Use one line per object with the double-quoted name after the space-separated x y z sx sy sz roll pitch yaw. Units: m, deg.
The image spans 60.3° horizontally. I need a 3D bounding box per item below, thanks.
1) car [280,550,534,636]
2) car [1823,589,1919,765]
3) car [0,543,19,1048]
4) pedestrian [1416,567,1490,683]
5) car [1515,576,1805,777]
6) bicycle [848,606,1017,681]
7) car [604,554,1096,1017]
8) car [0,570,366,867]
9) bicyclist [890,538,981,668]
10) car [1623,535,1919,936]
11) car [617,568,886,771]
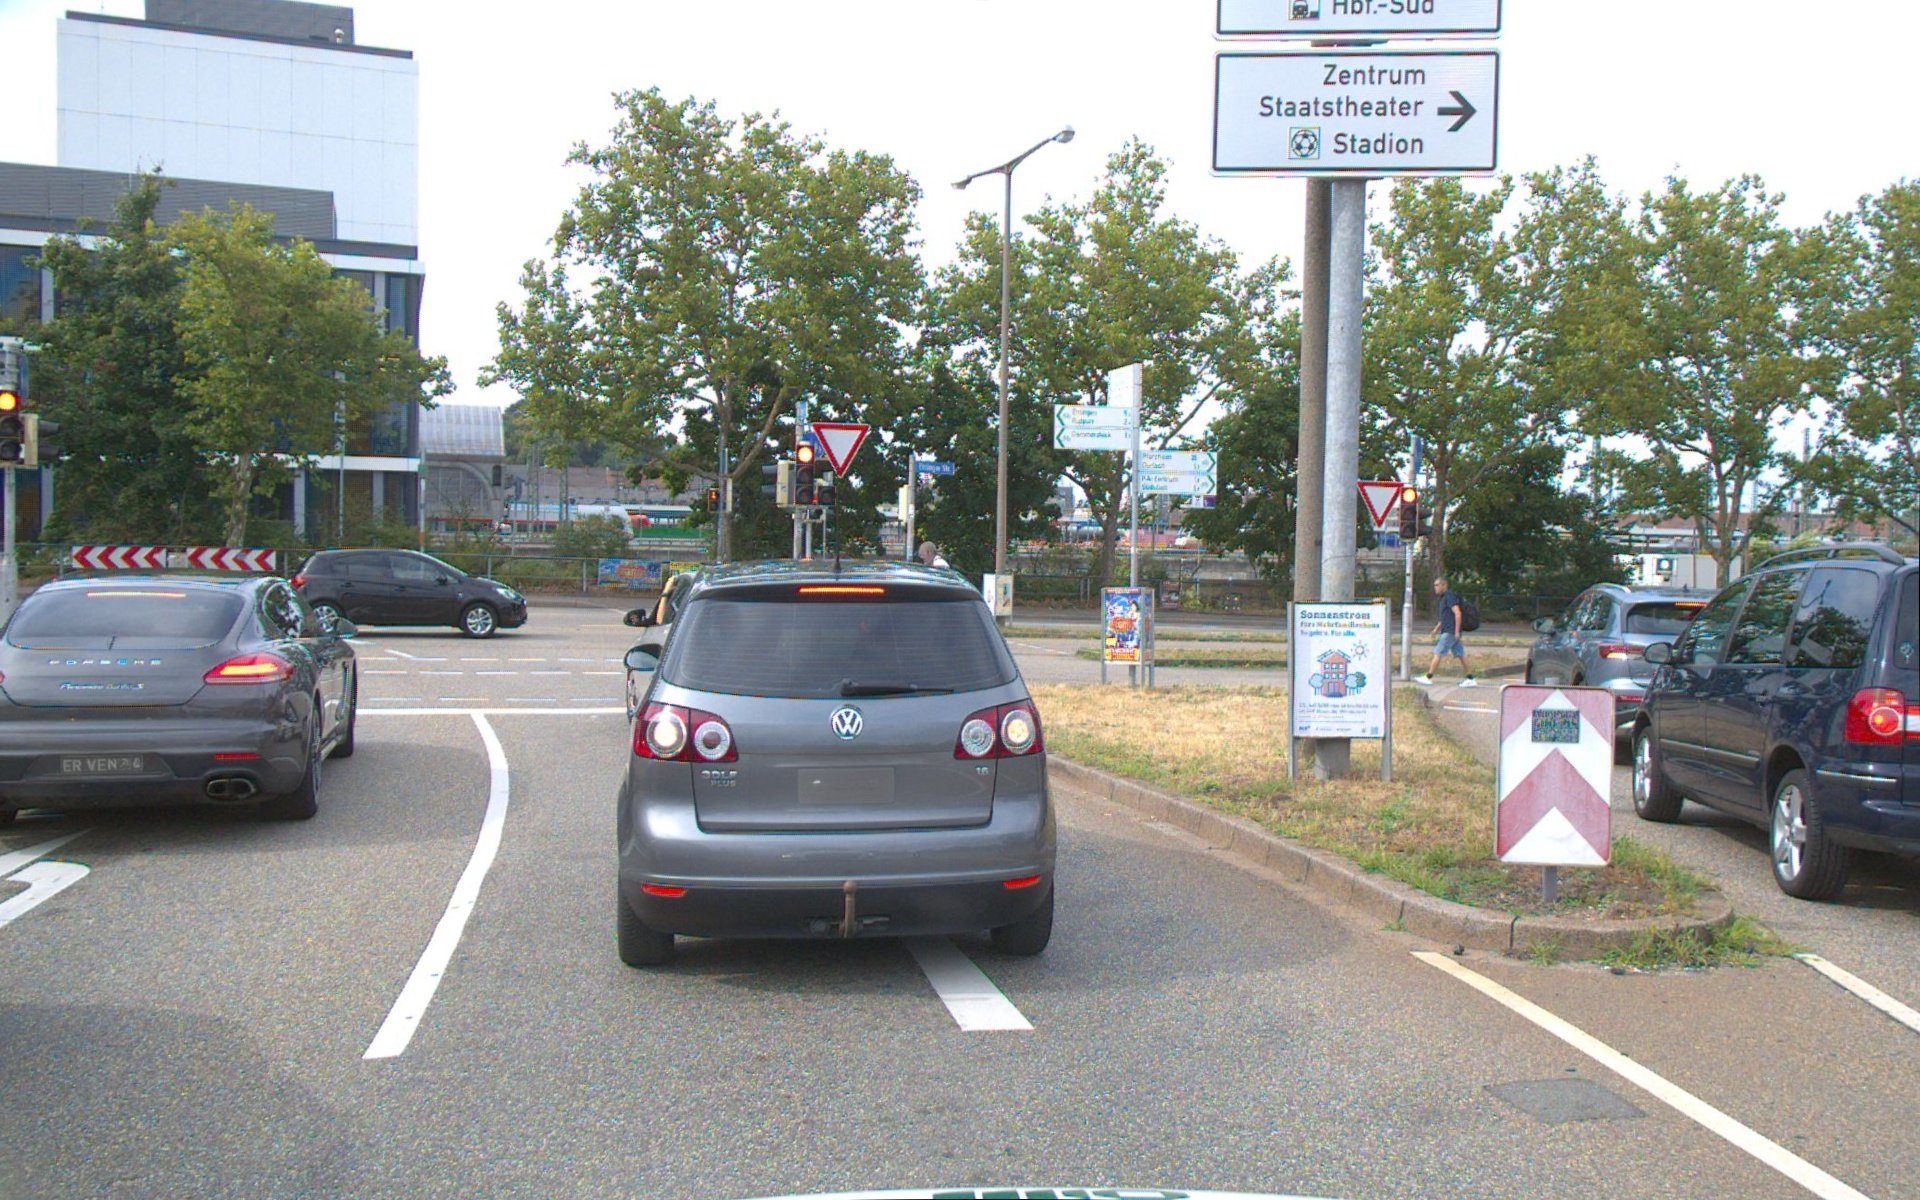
-9.489 -0.121 28.378 4.004 1.391 1.690 0 1 -24 "car"
10.088 0.768 16.140 1.713 1.671 4.141 3 0 10 "car"
-3.598 0.672 3.216 1.724 1.602 4.029 1 2 -9 "car"
7.636 0.368 25.646 1.025 1.740 0.854 2 1 16 "pedestrian"
6.603 0.639 16.055 1.654 1.613 4.160 3 0 10 "car"
-0.379 0.581 22.558 2.189 0.969 0.809 0 1 -13 "bicycle"
-0.671 0.607 7.774 1.709 1.573 4.074 0 1 -9 "car"
-4.953 0.561 10.656 1.789 1.438 4.755 1 1 -16 "car"
-0.342 0.033 22.566 1.093 1.726 0.811 0 1 -13 "bicyclist"
5.161 0.625 9.239 1.713 1.754 4.141 3 0 8 "car"
-1.962 0.487 14.472 1.713 1.508 4.063 0 1 -16 "car"
